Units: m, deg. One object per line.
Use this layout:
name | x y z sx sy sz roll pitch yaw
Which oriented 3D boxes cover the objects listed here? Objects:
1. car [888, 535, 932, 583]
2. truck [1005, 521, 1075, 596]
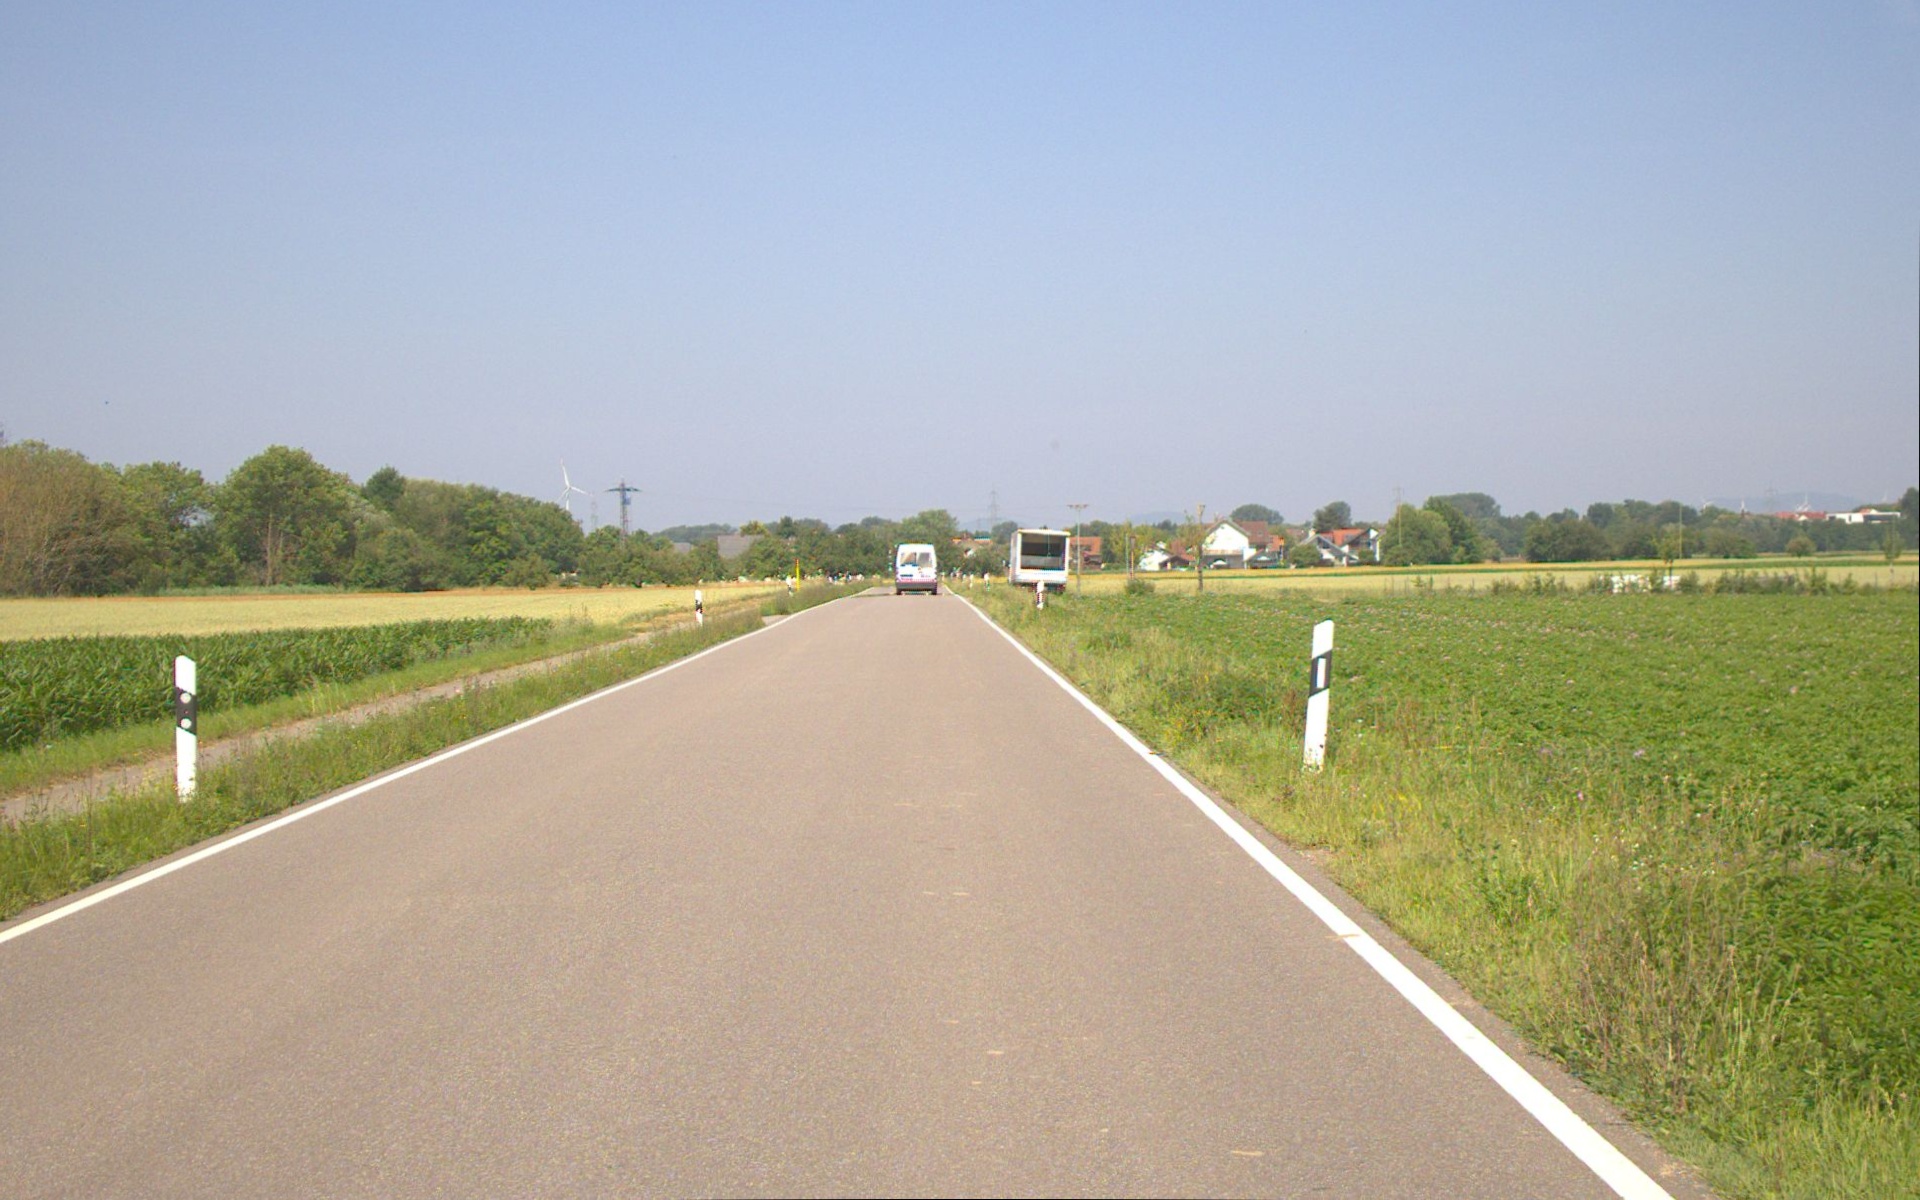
car | -2.457 -2.019 169.050 2.107 2.296 5.496 1 0 -1
truck | 3.289 -1.698 142.574 2.335 2.932 7.009 2 0 -3
